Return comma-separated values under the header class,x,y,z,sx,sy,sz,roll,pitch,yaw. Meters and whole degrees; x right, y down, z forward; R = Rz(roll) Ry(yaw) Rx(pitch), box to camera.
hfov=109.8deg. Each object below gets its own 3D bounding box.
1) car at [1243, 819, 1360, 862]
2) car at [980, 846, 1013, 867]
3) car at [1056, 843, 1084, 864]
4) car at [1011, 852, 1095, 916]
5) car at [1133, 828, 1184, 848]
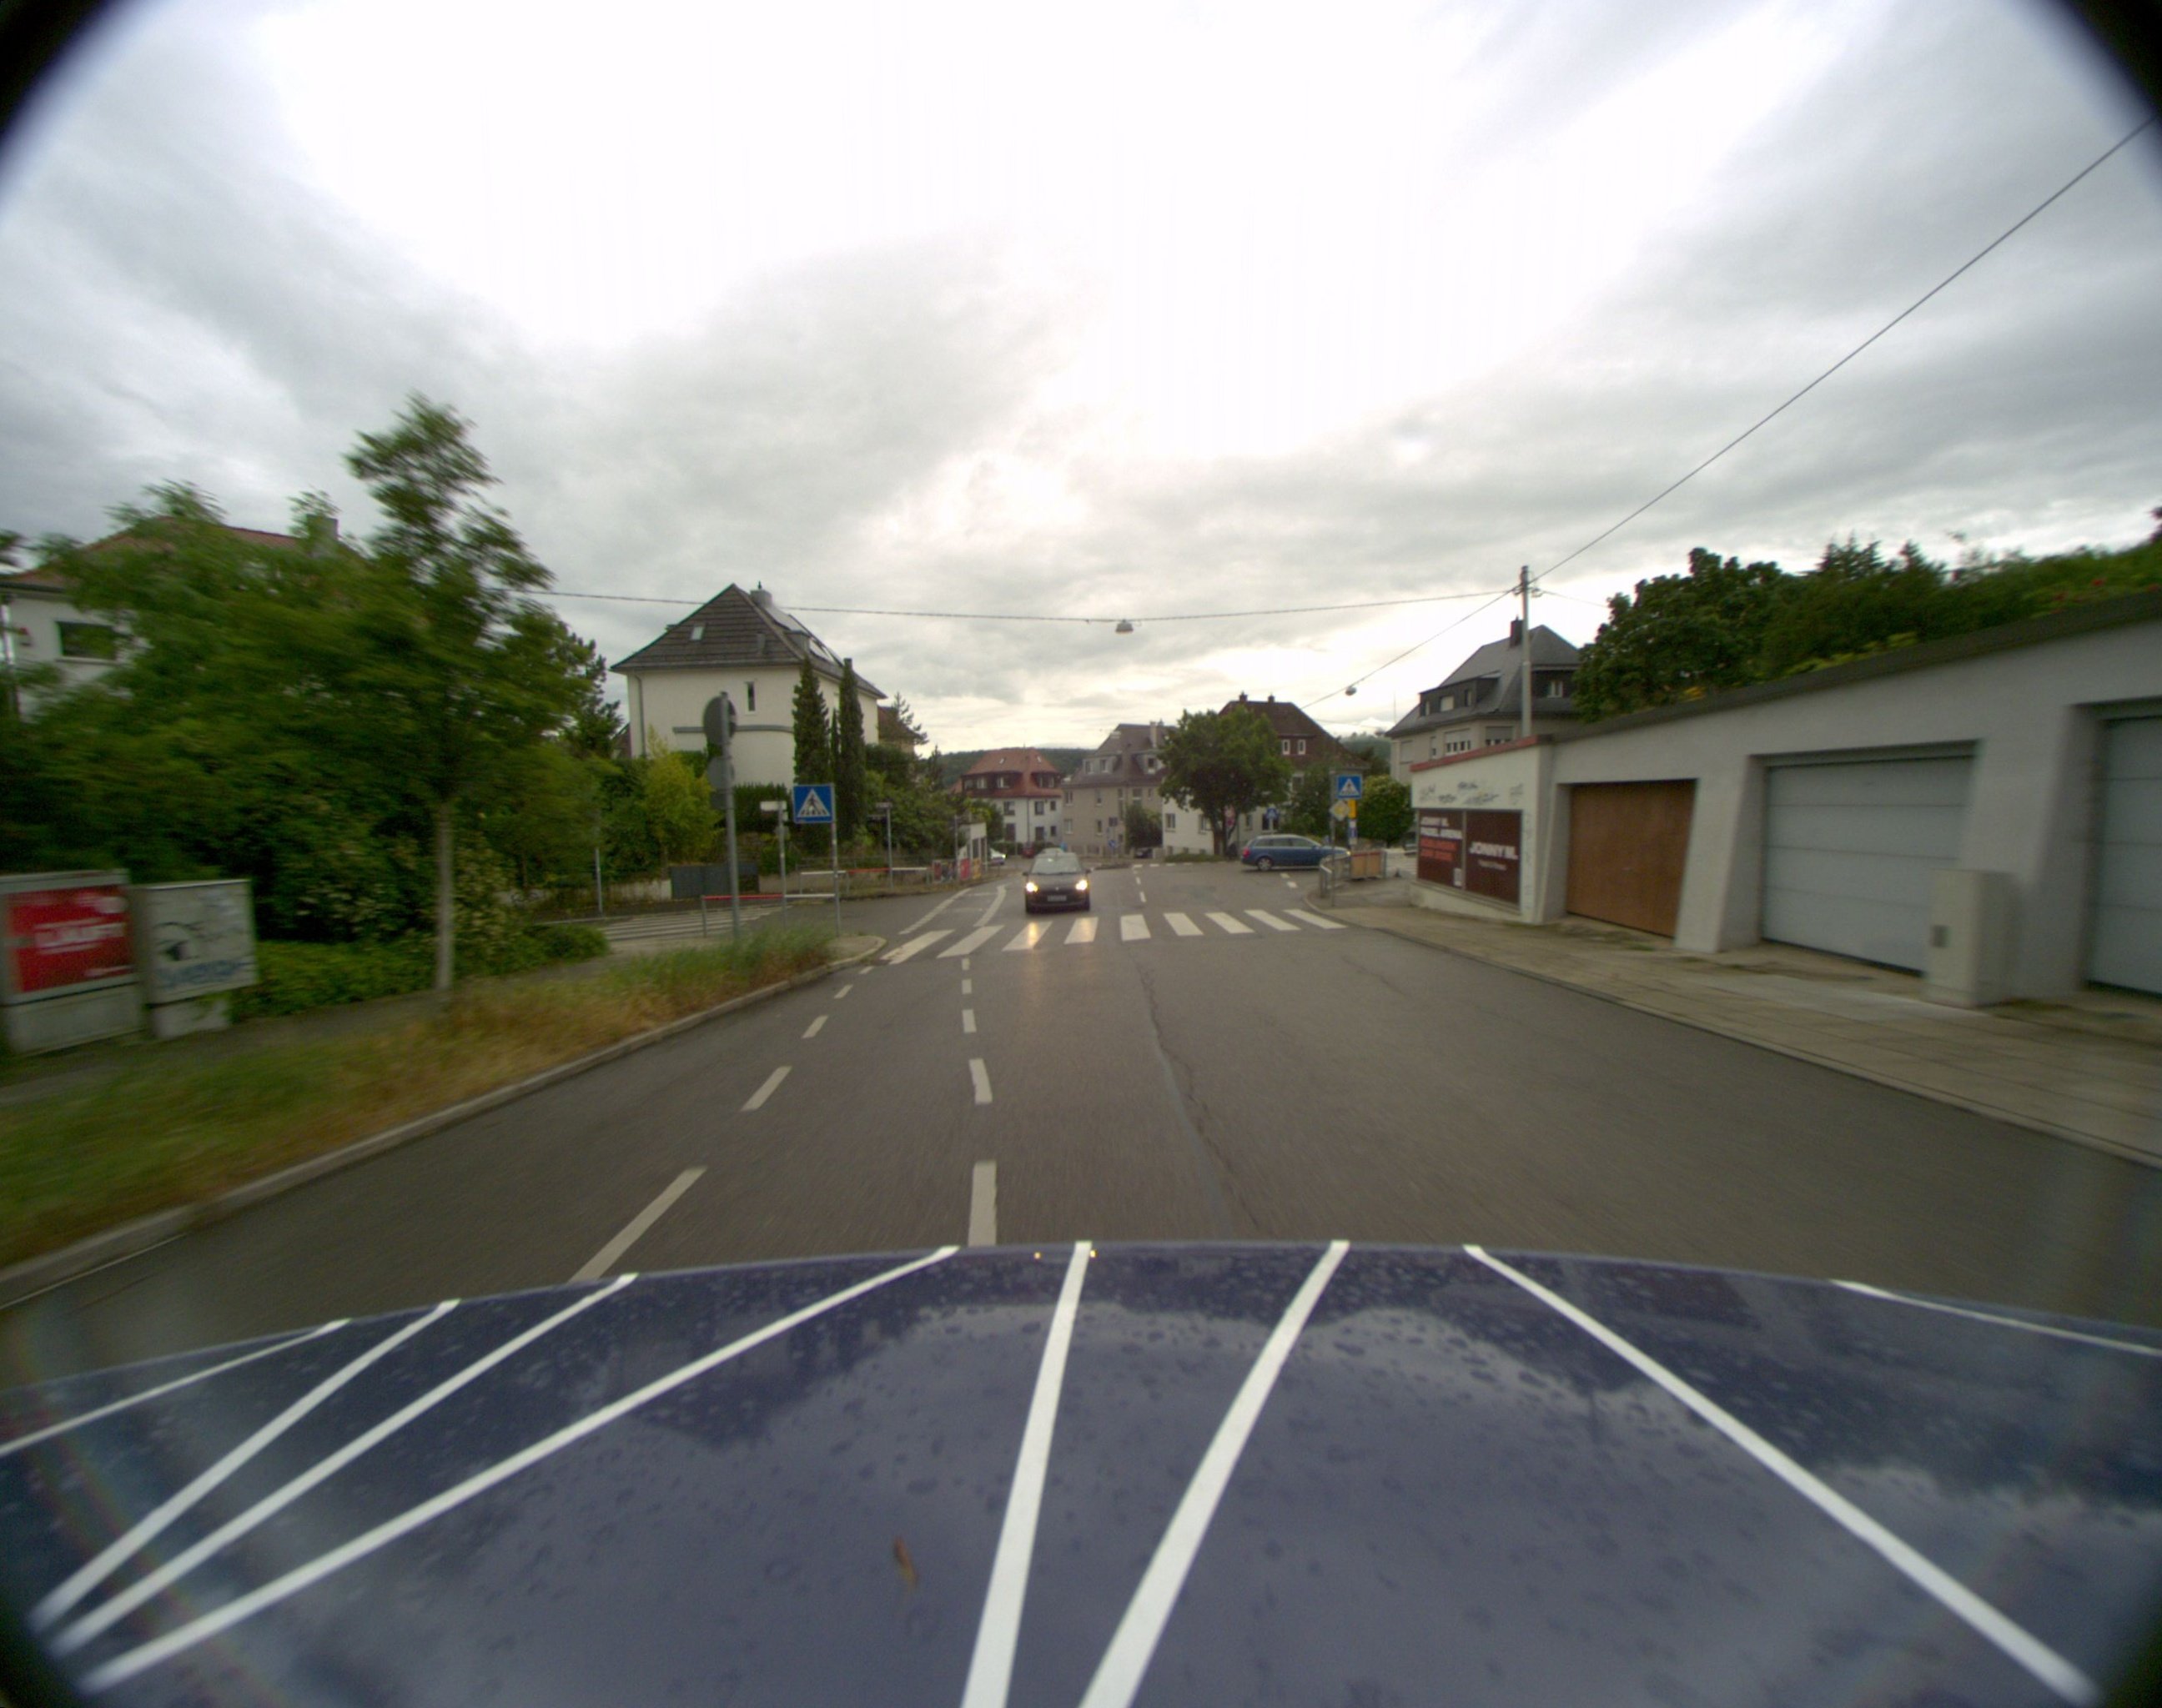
class,x,y,z,sx,sy,sz,roll,pitch,yaw
car,9.087,-0.592,31.625,4.480,1.479,2.000,-2,5,11
car,-8.008,0.245,72.000,2.019,1.892,4.087,-2,1,-22
car,-0.848,-0.065,59.776,1.857,1.576,4.000,-2,1,3
car,-0.665,0.737,20.794,1.892,1.521,4.057,-2,1,3
car,7.119,-1.449,69.876,4.225,1.663,1.875,-2,1,-19
